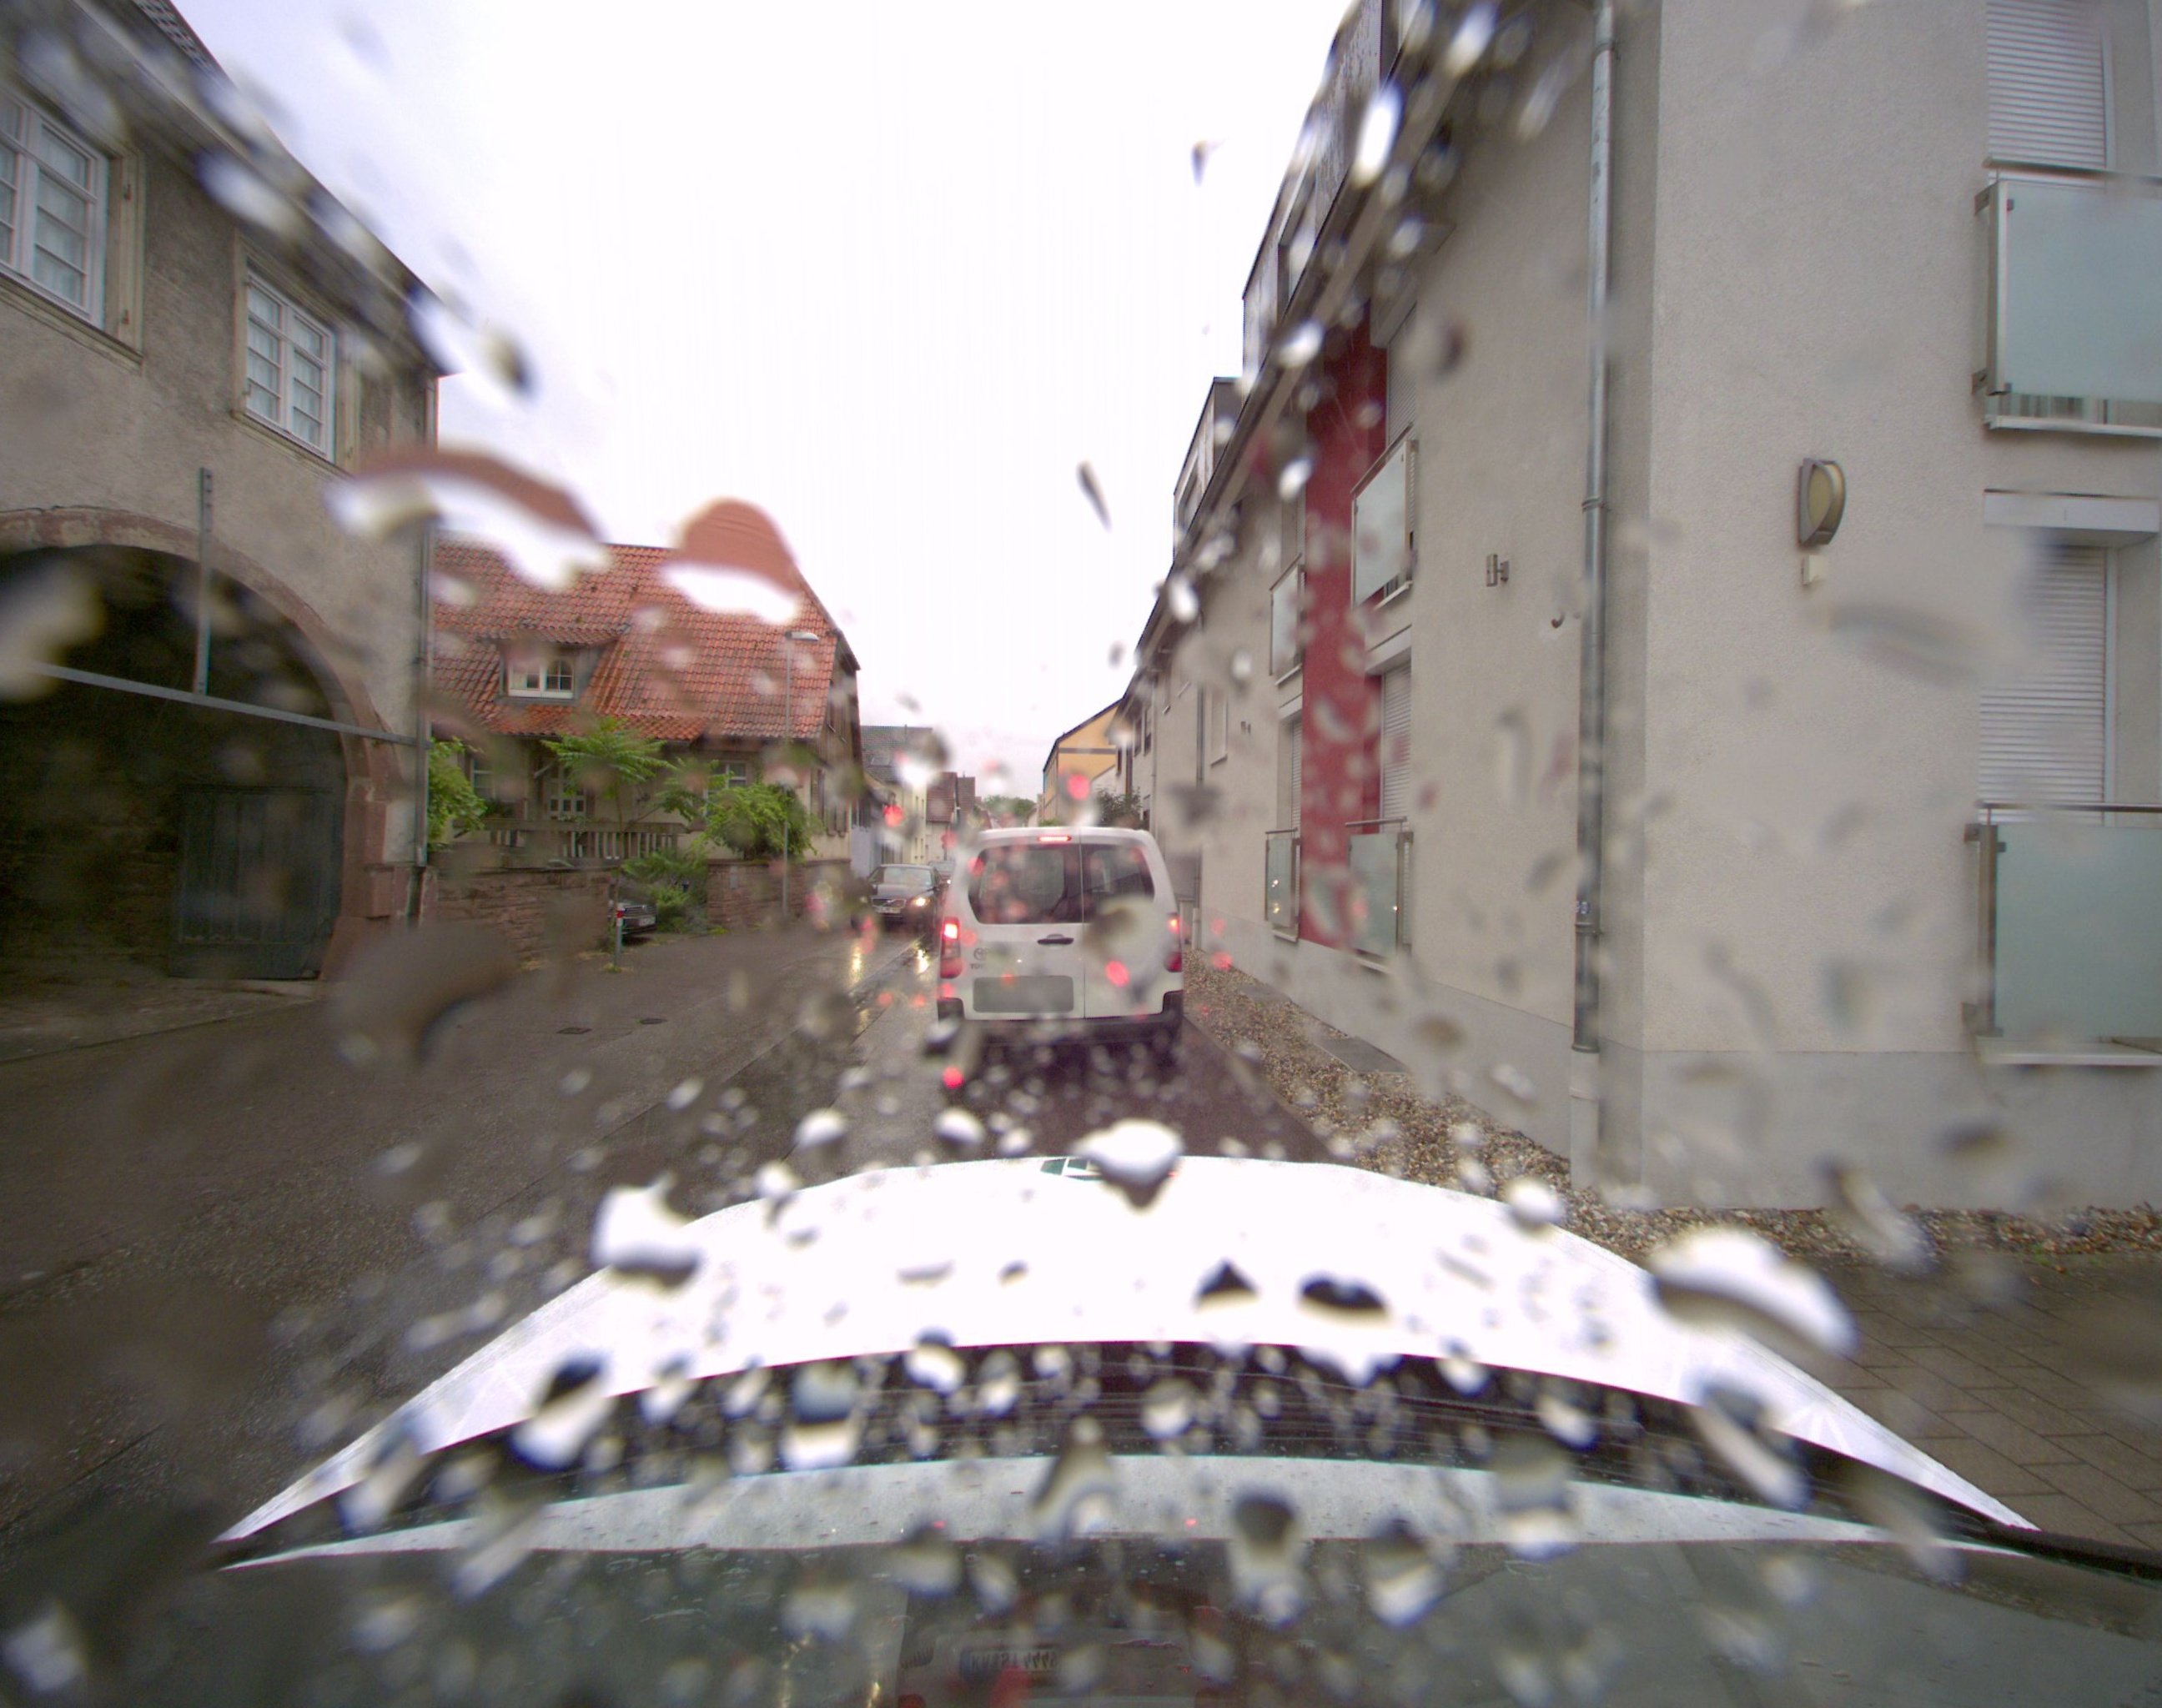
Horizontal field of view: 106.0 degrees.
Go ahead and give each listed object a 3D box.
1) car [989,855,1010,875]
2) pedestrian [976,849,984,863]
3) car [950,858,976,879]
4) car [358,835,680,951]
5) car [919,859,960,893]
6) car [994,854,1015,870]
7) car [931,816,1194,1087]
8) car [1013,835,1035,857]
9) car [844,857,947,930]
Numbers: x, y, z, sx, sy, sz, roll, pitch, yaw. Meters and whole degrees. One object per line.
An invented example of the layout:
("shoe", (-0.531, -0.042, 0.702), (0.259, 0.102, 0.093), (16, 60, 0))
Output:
("car", (-6.500, 0.865, 64.532), (1.559, 1.477, 3.989), (0, -1, -7))
("pedestrian", (-13.653, 0.298, 110.615), (1.049, 1.893, 0.875), (0, -1, -7))
("car", (-9.082, 1.110, 62.930), (1.831, 1.556, 4.228), (1, -1, -7))
("car", (-9.117, 0.616, 13.447), (3.973, 1.425, 1.736), (5, -1, 1))
("car", (-6.778, 1.019, 39.194), (1.602, 1.513, 3.681), (1, 0, -5))
("car", (-6.788, 0.692, 72.122), (1.778, 1.395, 3.989), (0, -1, -7))
("car", (-0.330, 0.653, 7.467), (1.773, 1.780, 3.991), (0, -1, -7))
("car", (-5.301, -0.708, 76.708), (1.989, 2.014, 3.995), (0, -1, -3))
("car", (-4.233, 0.845, 19.207), (1.693, 1.509, 4.335), (1, -1, -4))
